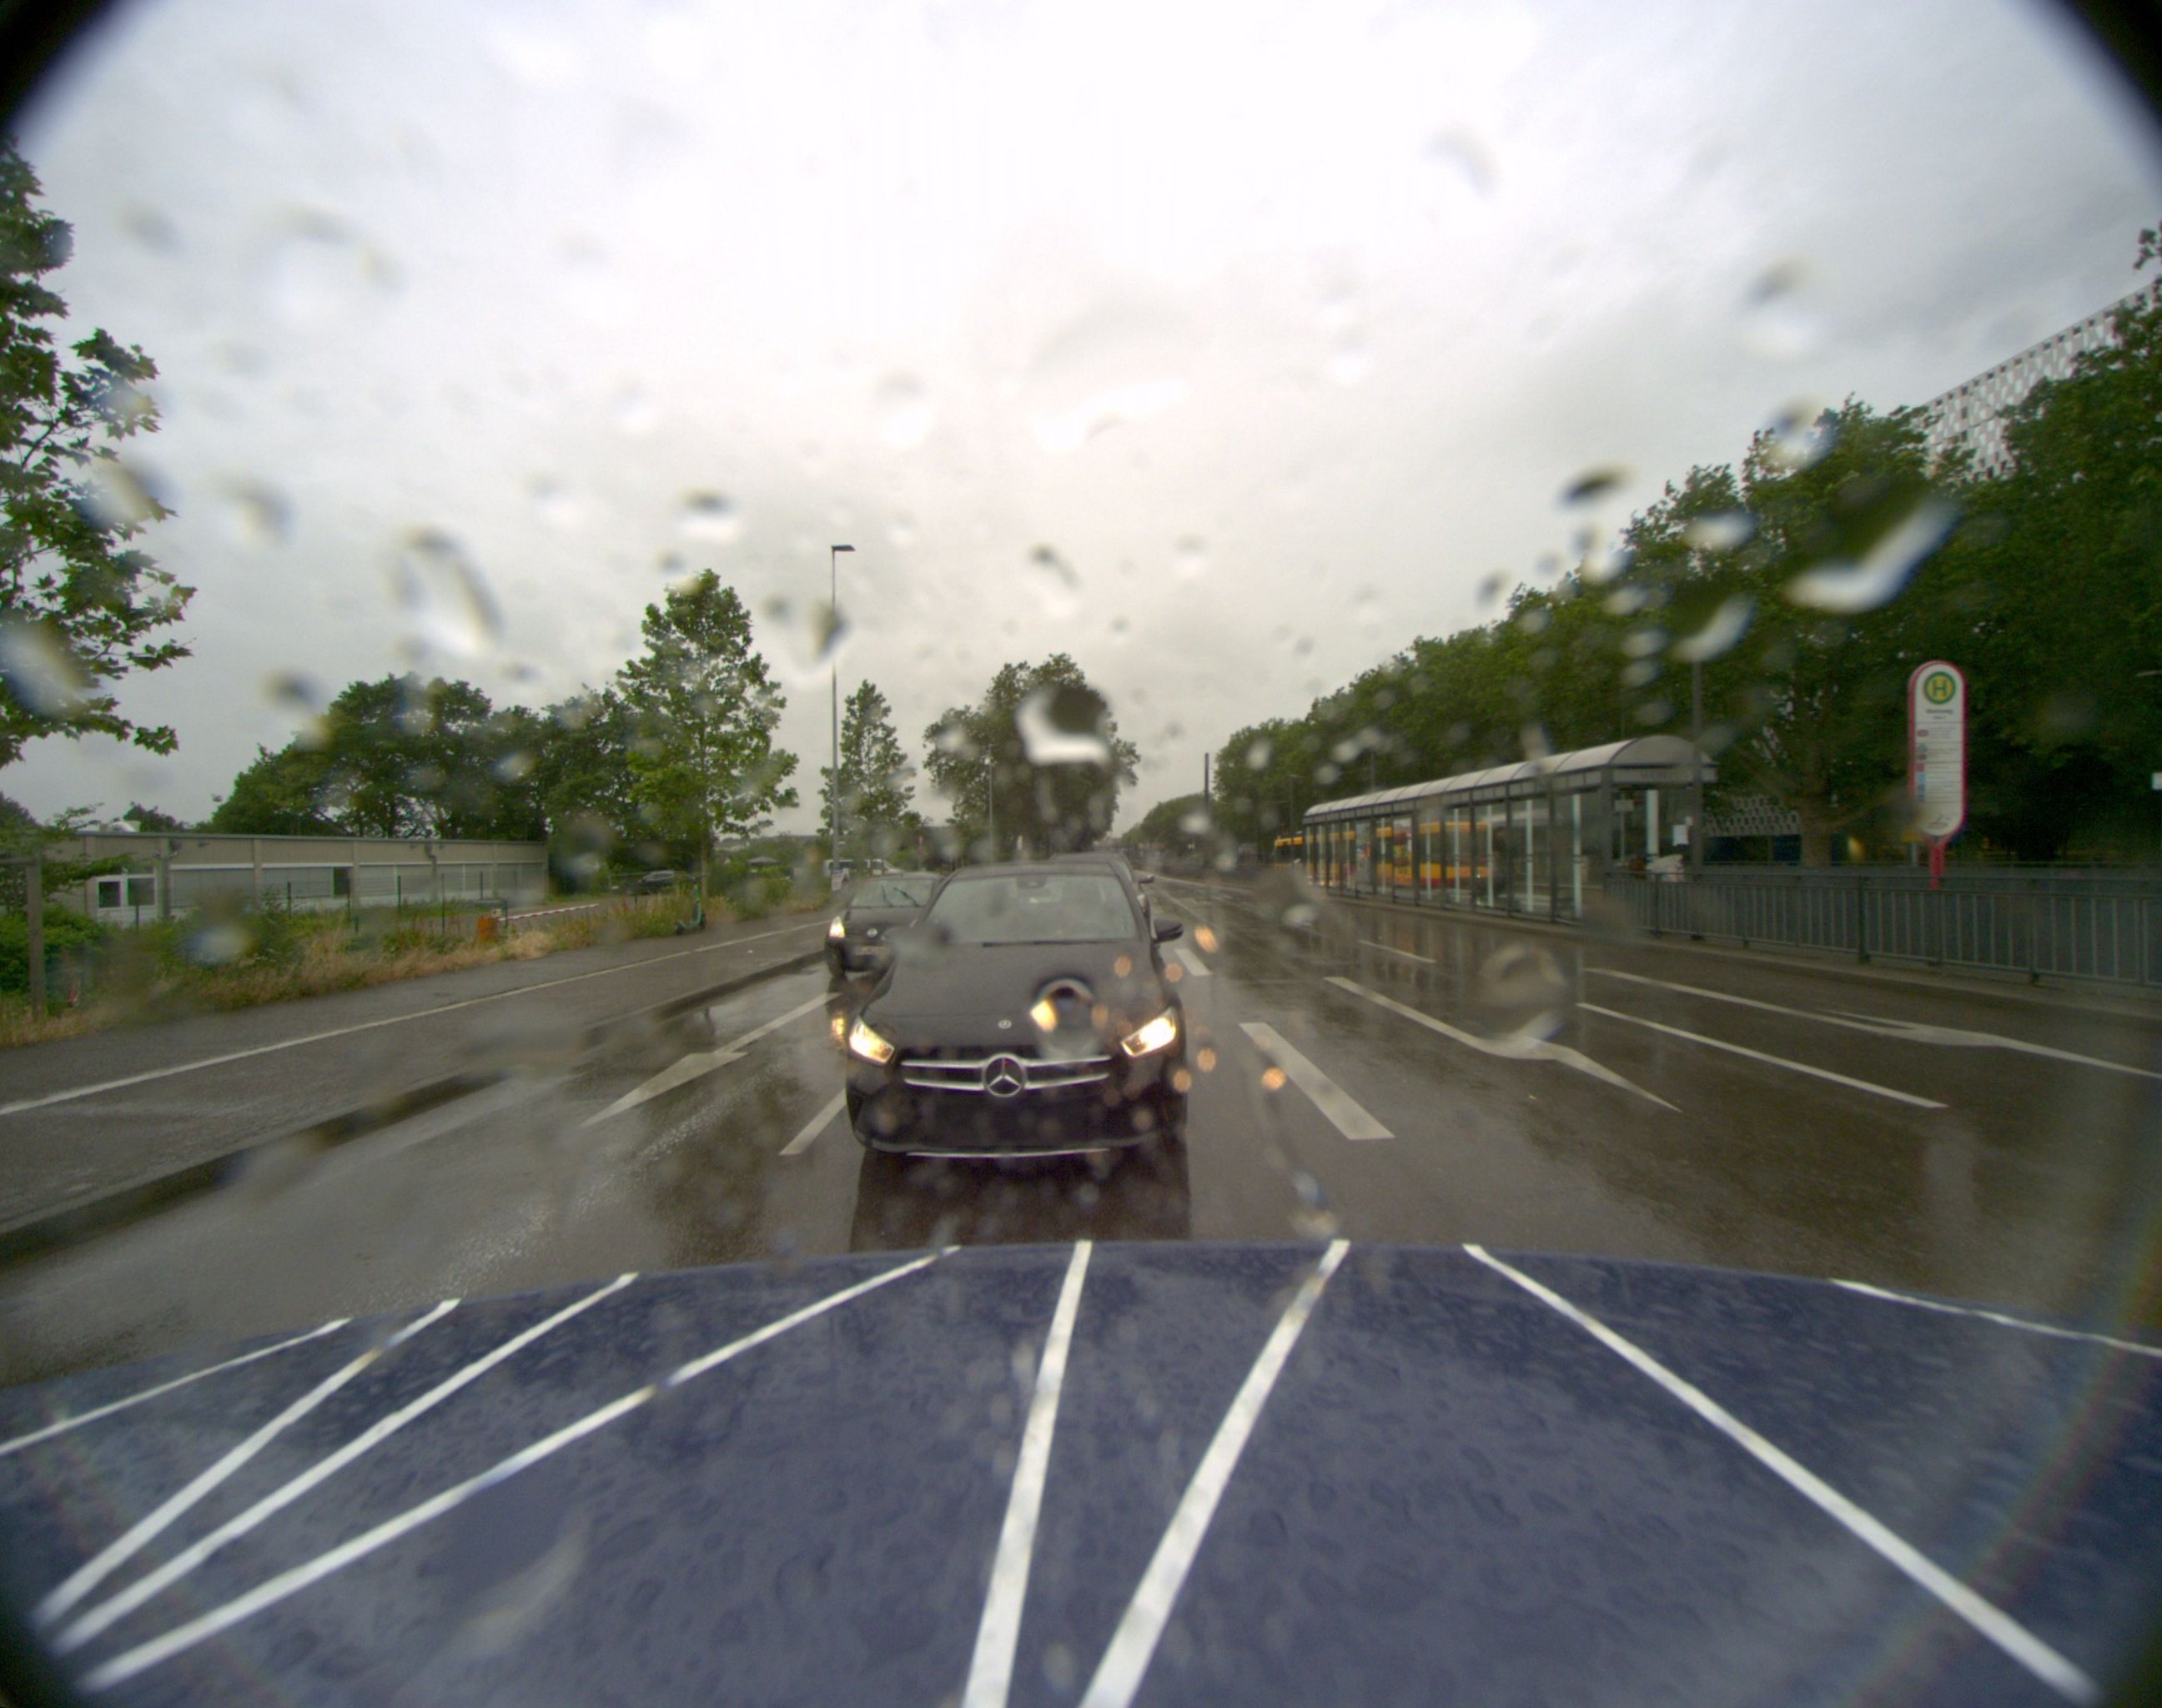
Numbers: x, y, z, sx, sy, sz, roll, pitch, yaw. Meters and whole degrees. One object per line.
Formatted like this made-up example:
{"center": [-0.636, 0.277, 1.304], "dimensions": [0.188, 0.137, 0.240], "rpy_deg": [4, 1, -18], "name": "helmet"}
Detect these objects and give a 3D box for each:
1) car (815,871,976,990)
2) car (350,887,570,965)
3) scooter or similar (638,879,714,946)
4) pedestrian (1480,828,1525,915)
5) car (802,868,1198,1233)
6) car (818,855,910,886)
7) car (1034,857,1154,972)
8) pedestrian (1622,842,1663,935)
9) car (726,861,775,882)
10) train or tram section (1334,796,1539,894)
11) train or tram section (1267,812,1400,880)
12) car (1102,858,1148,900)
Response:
{"center": [-2.756, 1.076, 12.069], "dimensions": [1.557, 1.500, 3.618], "rpy_deg": [-2, 0, 1], "name": "car"}
{"center": [-12.034, 1.379, 14.816], "dimensions": [3.243, 1.281, 1.345], "rpy_deg": [-3, 1, 6], "name": "car"}
{"center": [-8.196, 1.160, 15.476], "dimensions": [0.367, 1.192, 1.913], "rpy_deg": [-2, 1, 4], "name": "scooter or similar"}
{"center": [9.242, 0.378, 16.689], "dimensions": [0.655, 1.860, 0.773], "rpy_deg": [-2, 1, 17], "name": "pedestrian"}
{"center": [-0.229, 0.946, 5.522], "dimensions": [1.758, 1.572, 4.170], "rpy_deg": [-2, 0, 4], "name": "car"}
{"center": [-13.714, 1.013, 48.143], "dimensions": [5.174, 1.715, 2.006], "rpy_deg": [-3, 1, -1], "name": "car"}
{"center": [0.243, 0.870, 12.799], "dimensions": [1.689, 1.611, 4.000], "rpy_deg": [-1, 0, 2], "name": "car"}
{"center": [9.176, 0.550, 12.426], "dimensions": [0.321, 1.485, 0.415], "rpy_deg": [-3, 2, 6], "name": "pedestrian"}
{"center": [-28.238, 1.510, 65.012], "dimensions": [3.552, 1.574, 1.345], "rpy_deg": [-3, 1, 6], "name": "car"}
{"center": [16.620, -0.410, 37.451], "dimensions": [3.751, 3.817, 13.253], "rpy_deg": [-3, 0, 0], "name": "train or tram section"}
{"center": [16.588, -0.531, 51.892], "dimensions": [3.751, 3.777, 15.569], "rpy_deg": [-3, 0, 0], "name": "train or tram section"}
{"center": [1.758, 0.993, 31.320], "dimensions": [1.557, 1.541, 3.717], "rpy_deg": [-3, 0, 0], "name": "car"}
